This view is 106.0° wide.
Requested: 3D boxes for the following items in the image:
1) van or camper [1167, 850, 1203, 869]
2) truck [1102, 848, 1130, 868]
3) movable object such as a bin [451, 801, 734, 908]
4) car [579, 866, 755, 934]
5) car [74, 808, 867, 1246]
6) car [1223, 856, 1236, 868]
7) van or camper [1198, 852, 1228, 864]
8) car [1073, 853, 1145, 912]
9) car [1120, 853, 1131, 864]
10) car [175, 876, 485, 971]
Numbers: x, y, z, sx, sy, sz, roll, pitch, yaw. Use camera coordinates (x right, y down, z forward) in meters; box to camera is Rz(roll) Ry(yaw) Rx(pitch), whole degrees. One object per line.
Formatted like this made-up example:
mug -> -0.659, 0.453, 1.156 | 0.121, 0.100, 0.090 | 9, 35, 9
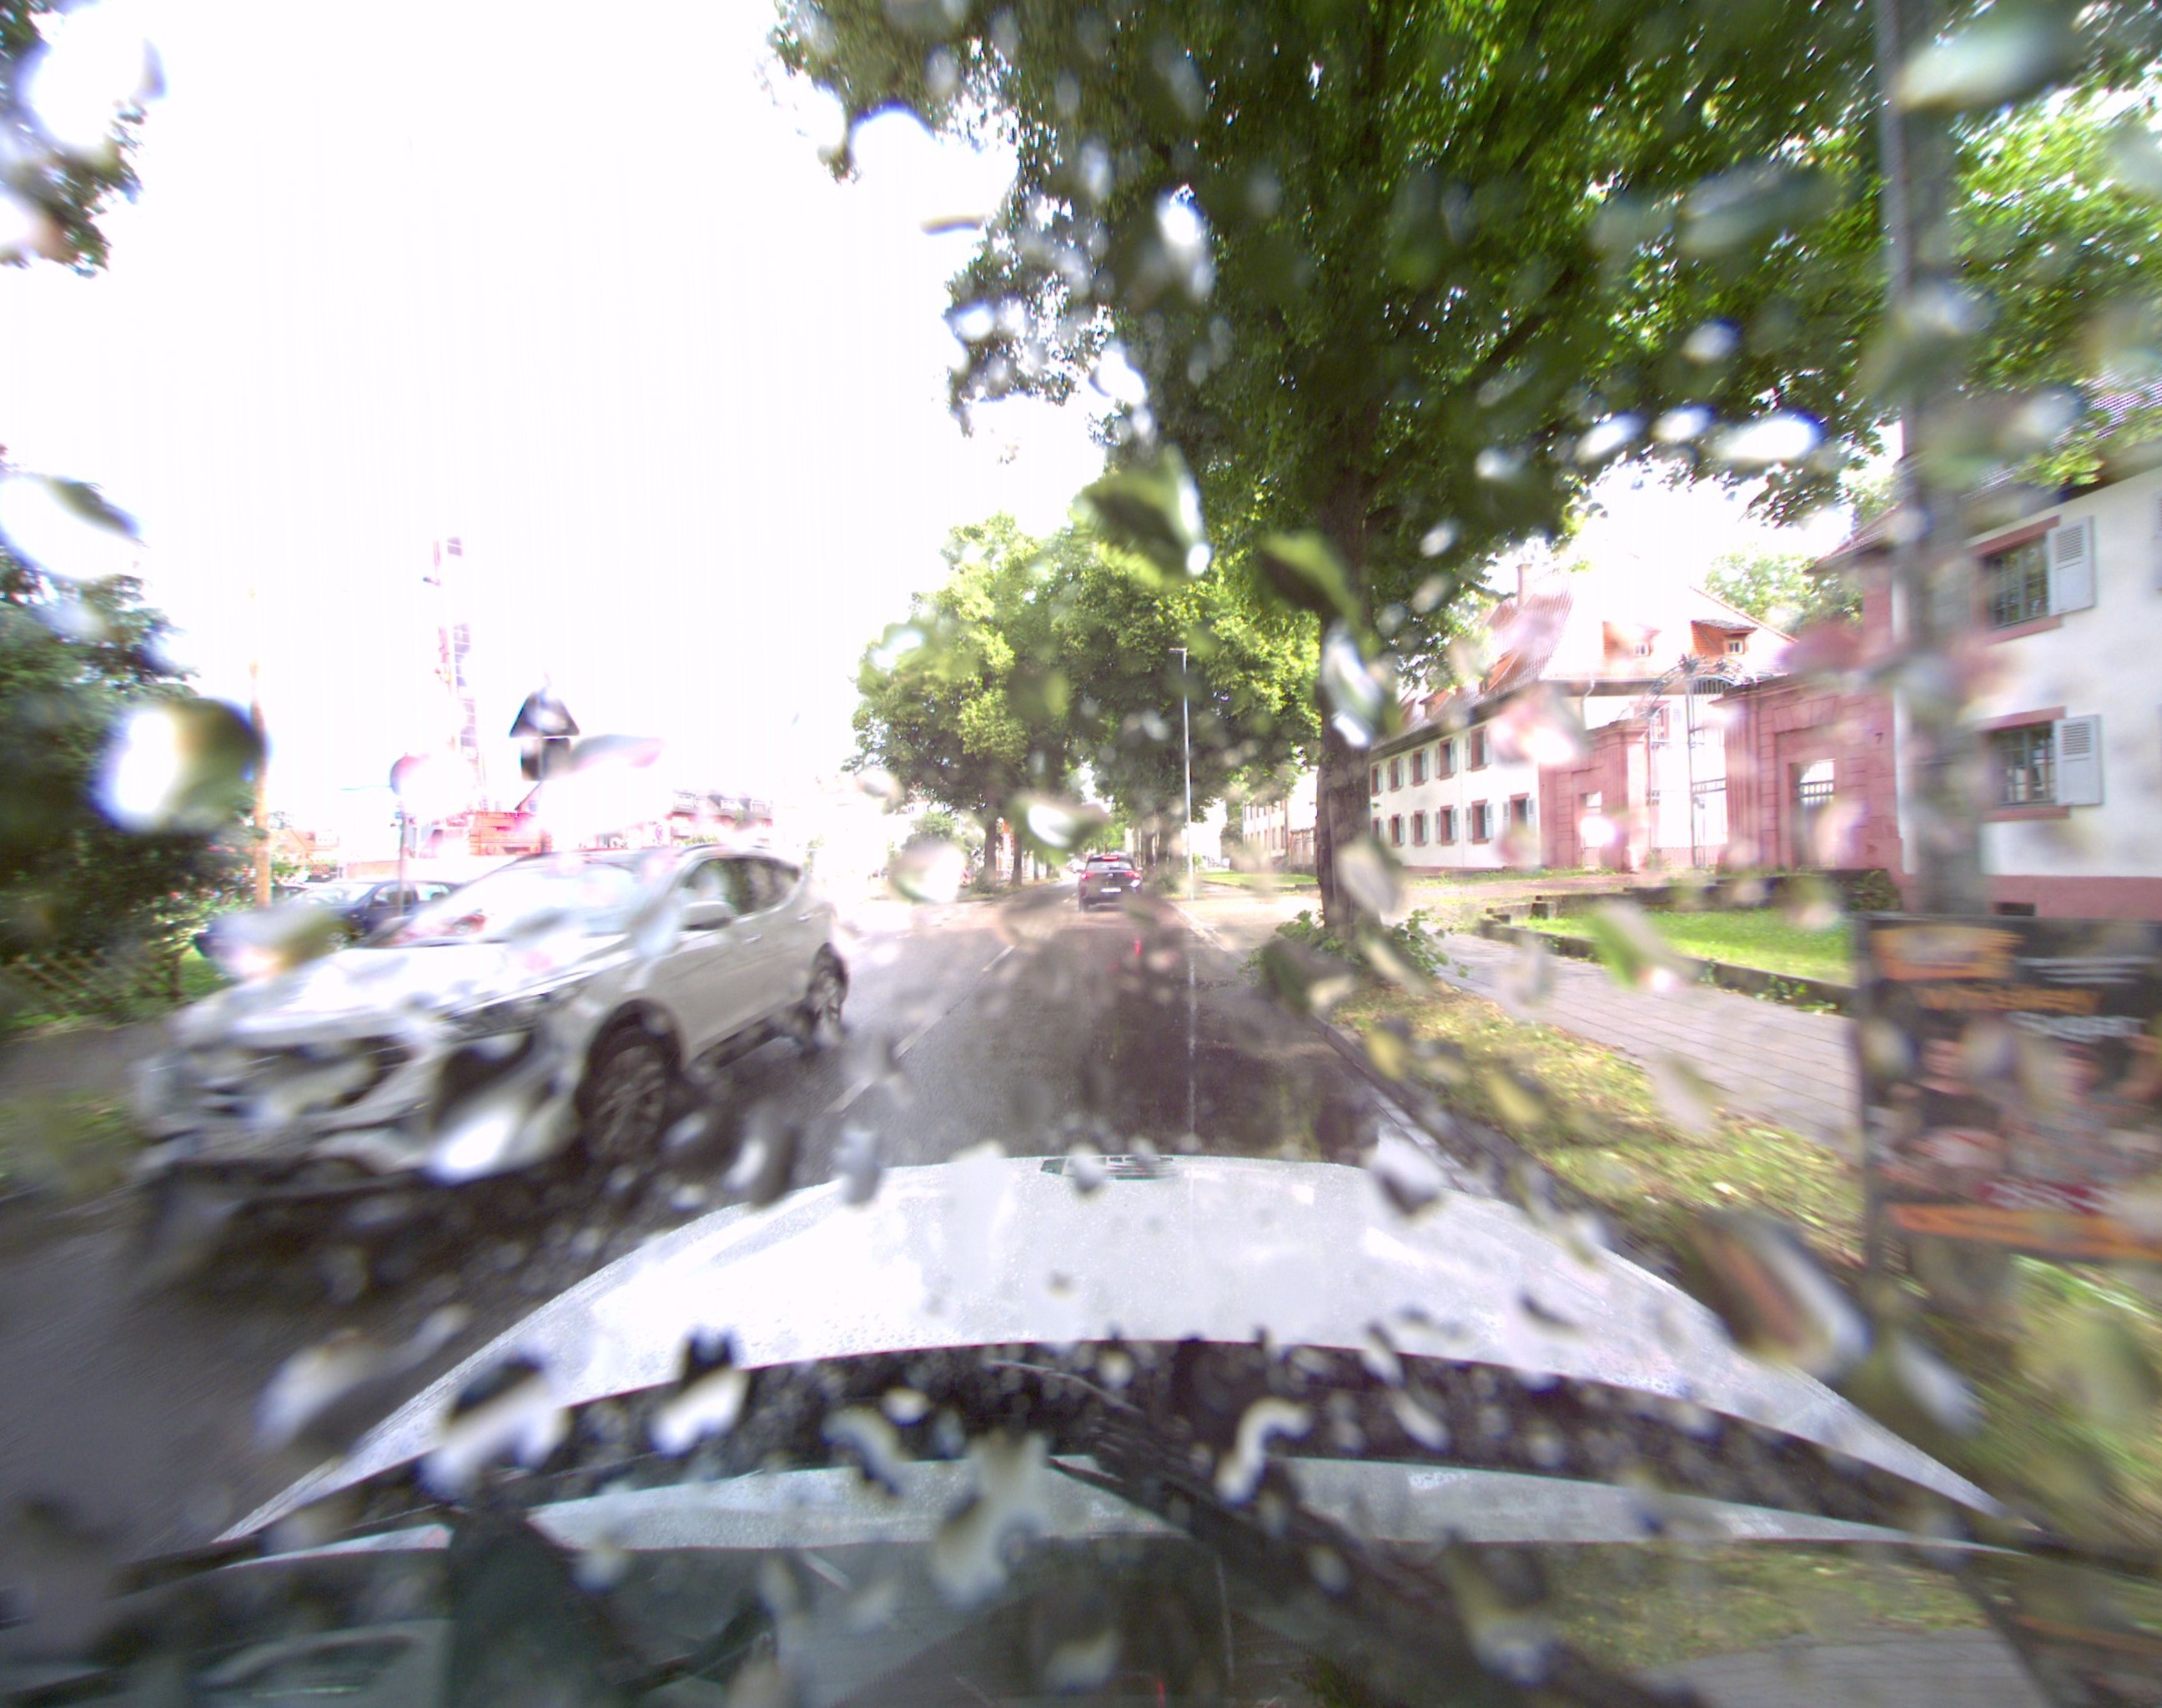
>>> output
van or camper -> 15.070, 0.781, 118.110 | 5.015, 2.596, 2.168 | -2, -1, 1
truck -> 4.886, 0.572, 115.144 | 2.801, 2.656, 8.225 | 0, 0, -5
movable object such as a bin -> -19.915, 0.044, 33.586 | 9.768, 4.115, 3.370 | 0, 0, 4
car -> -10.406, 1.146, 20.605 | 3.583, 1.534, 1.742 | -2, 0, 9
car -> -3.024, 0.708, 5.382 | 1.879, 1.713, 4.232 | -2, 0, 3
car -> 23.930, 1.301, 131.268 | 1.732, 1.684, 3.879 | -4, -1, 8
van or camper -> 21.938, 0.651, 135.468 | 4.855, 1.926, 2.133 | 0, 0, 2
car -> 0.749, 0.776, 23.464 | 1.888, 1.522, 4.000 | 0, -1, 0
car -> 8.950, 0.931, 164.102 | 1.984, 2.014, 4.004 | 0, -2, 4
car -> -12.706, 1.116, 14.175 | 1.617, 1.420, 3.872 | 0, -2, 3
